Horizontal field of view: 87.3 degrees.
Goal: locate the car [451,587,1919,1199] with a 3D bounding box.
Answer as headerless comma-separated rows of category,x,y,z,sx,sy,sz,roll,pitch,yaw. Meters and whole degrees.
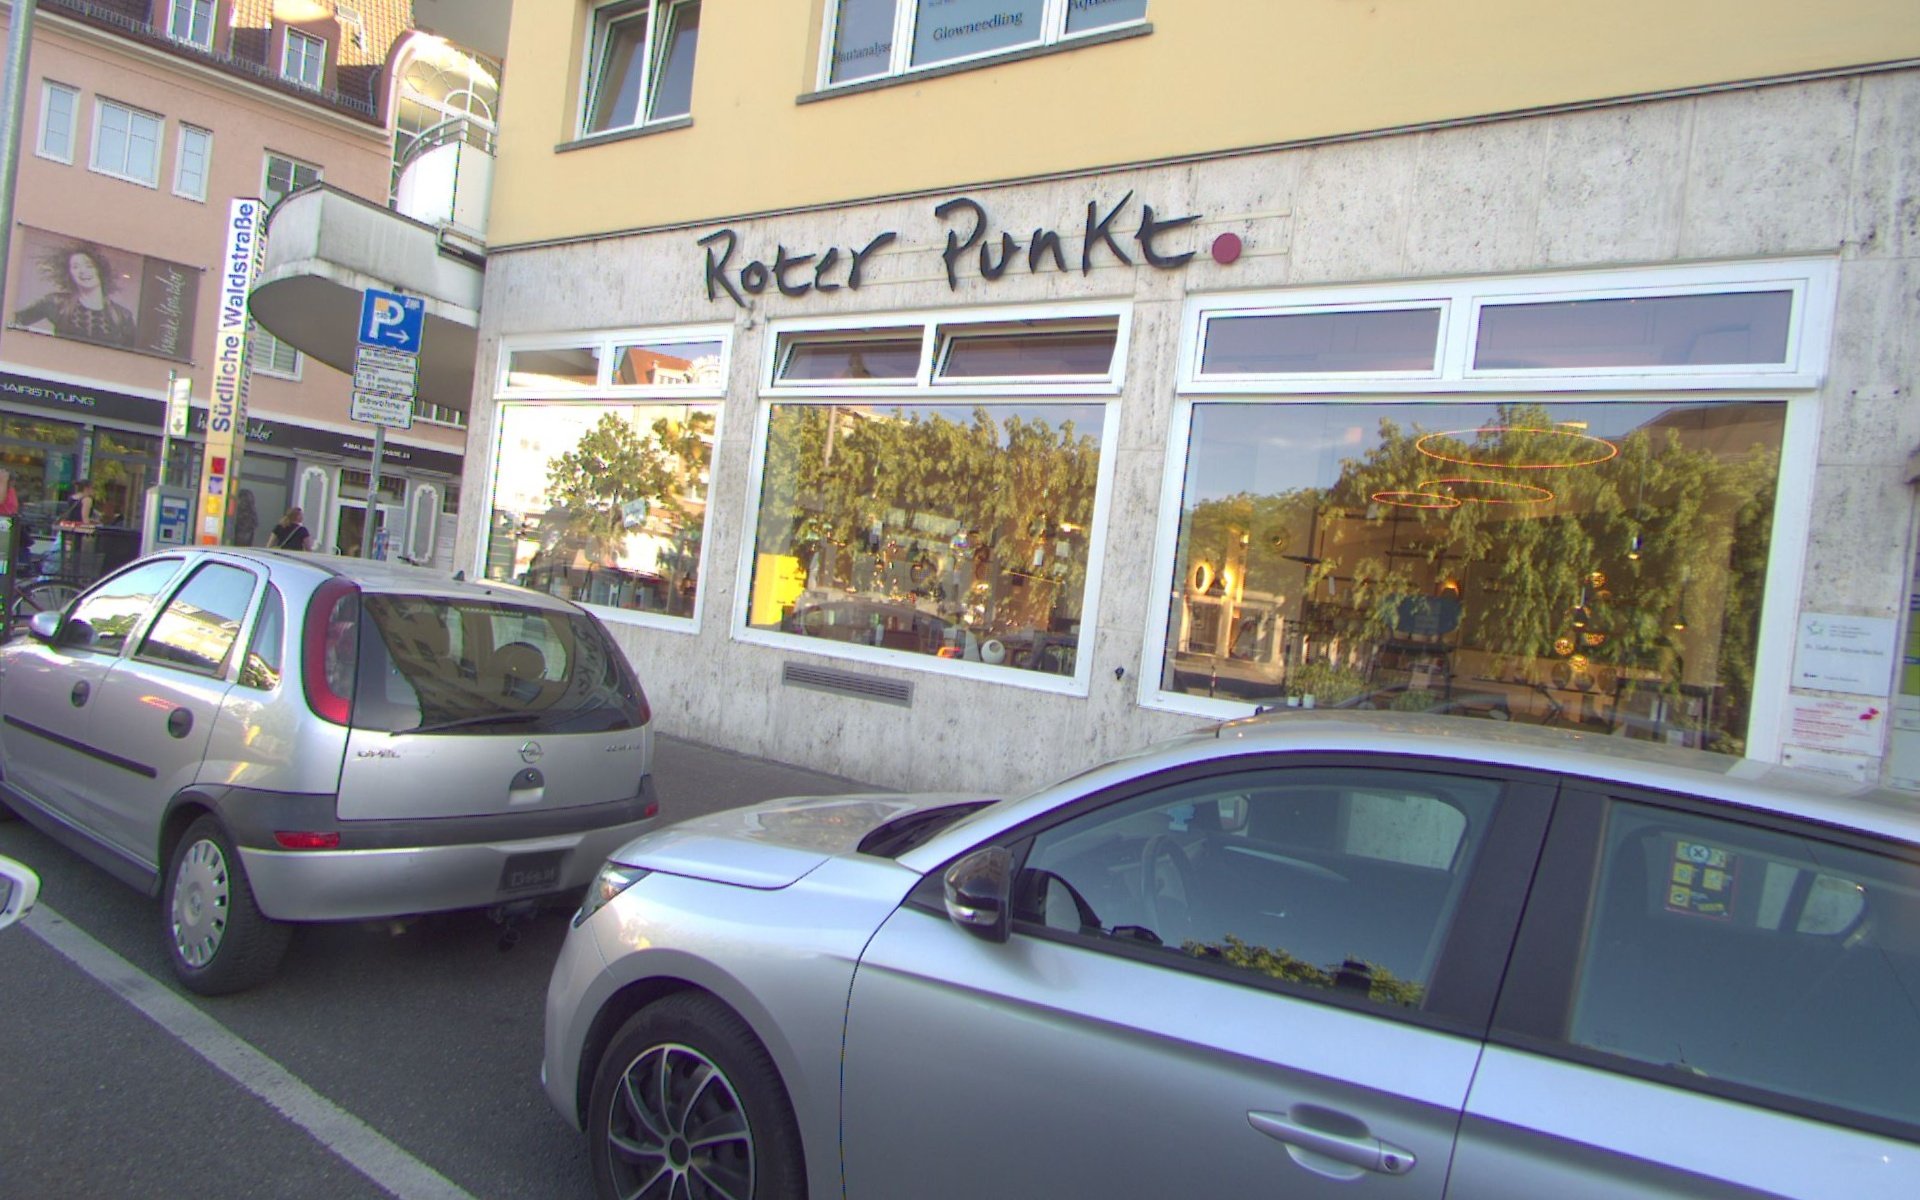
car,0.780,0.940,2.279,3.624,1.453,1.587,6,-2,30

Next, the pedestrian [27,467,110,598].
pedestrian,-13.376,-1.008,15.098,0.879,1.875,0.680,6,3,33

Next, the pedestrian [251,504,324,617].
pedestrian,-11.158,-0.649,16.693,0.776,1.777,0.720,6,2,38

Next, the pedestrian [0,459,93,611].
pedestrian,-11.560,-0.801,12.155,1.095,1.739,1.060,7,-1,-11

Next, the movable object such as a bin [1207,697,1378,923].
movable object such as a bin,1.825,1.094,5.475,0.639,1.035,0.738,6,-1,31

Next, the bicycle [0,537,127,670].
bicycle,-8.165,0.000,8.251,0.642,1.057,1.884,7,0,33

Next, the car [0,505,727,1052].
car,-2.956,0.481,4.459,3.520,1.443,1.587,6,-2,32

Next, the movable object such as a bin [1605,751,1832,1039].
movable object such as a bin,3.373,1.262,4.545,0.639,1.035,0.738,6,-1,31

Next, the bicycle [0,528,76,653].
bicycle,-9.056,-0.153,8.796,0.642,1.072,1.816,7,-1,33

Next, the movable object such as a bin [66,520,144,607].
movable object such as a bin,-11.955,-0.510,14.062,0.716,1.117,0.636,7,2,35
